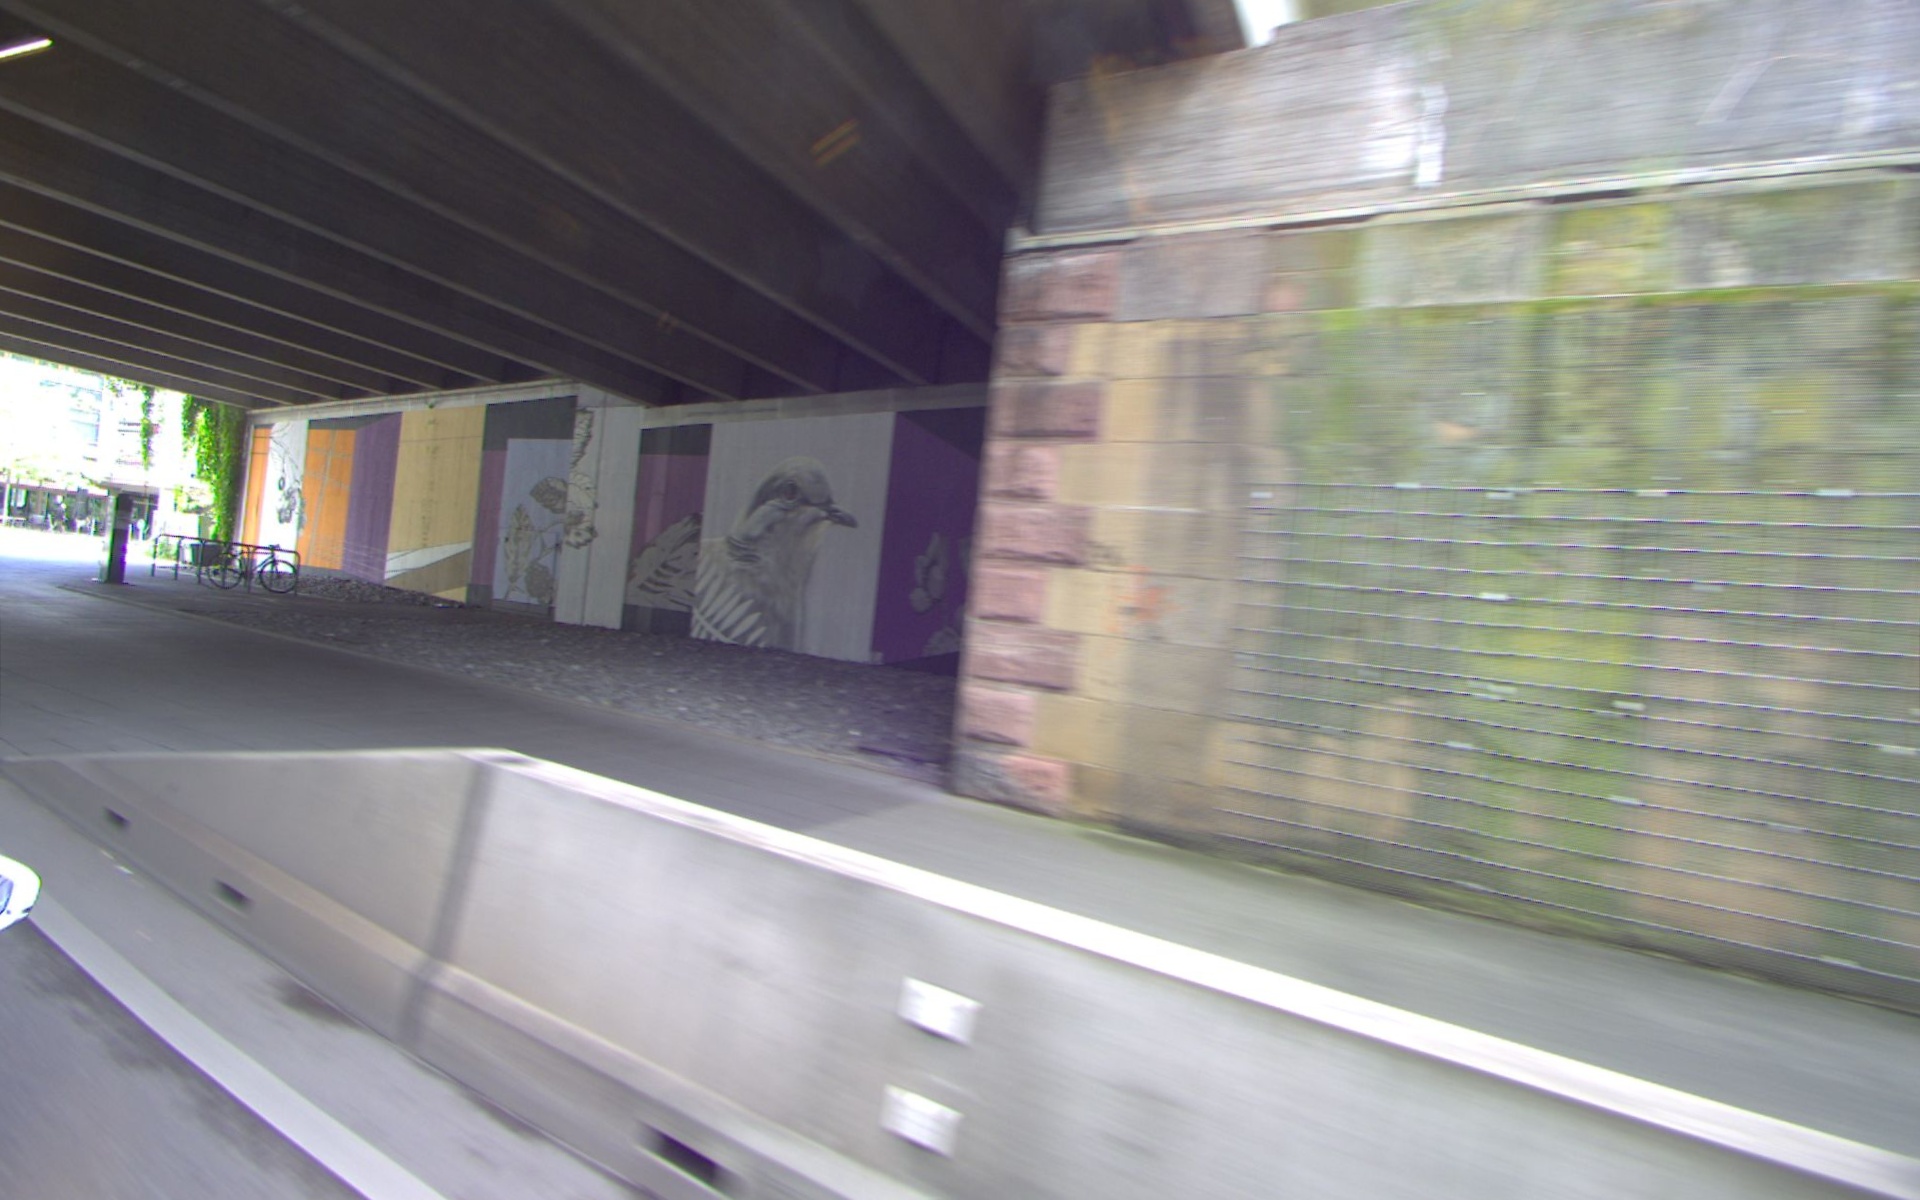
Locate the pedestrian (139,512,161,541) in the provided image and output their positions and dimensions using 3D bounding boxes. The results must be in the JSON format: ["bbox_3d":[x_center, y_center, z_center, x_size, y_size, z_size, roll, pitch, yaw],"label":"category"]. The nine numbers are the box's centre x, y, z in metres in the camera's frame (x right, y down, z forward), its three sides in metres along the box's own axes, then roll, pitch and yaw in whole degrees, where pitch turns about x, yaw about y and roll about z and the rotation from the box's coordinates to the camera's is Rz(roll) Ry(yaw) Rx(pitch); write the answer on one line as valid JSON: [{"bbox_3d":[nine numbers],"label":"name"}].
[{"bbox_3d":[-50.720,-4.618,63.010,0.606,1.694,0.698,7,0,21],"label":"pedestrian"}]

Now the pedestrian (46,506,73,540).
[{"bbox_3d":[-48.714,-4.159,54.410,0.605,1.694,0.698,7,0,9],"label":"pedestrian"}]

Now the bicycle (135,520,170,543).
[{"bbox_3d":[-50.541,-4.286,62.981,1.524,1.181,0.493,8,-2,-25],"label":"bicycle"}]

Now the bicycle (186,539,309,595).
[{"bbox_3d":[-14.201,-0.638,20.112,0.498,0.915,1.948,6,0,28],"label":"bicycle"}]
